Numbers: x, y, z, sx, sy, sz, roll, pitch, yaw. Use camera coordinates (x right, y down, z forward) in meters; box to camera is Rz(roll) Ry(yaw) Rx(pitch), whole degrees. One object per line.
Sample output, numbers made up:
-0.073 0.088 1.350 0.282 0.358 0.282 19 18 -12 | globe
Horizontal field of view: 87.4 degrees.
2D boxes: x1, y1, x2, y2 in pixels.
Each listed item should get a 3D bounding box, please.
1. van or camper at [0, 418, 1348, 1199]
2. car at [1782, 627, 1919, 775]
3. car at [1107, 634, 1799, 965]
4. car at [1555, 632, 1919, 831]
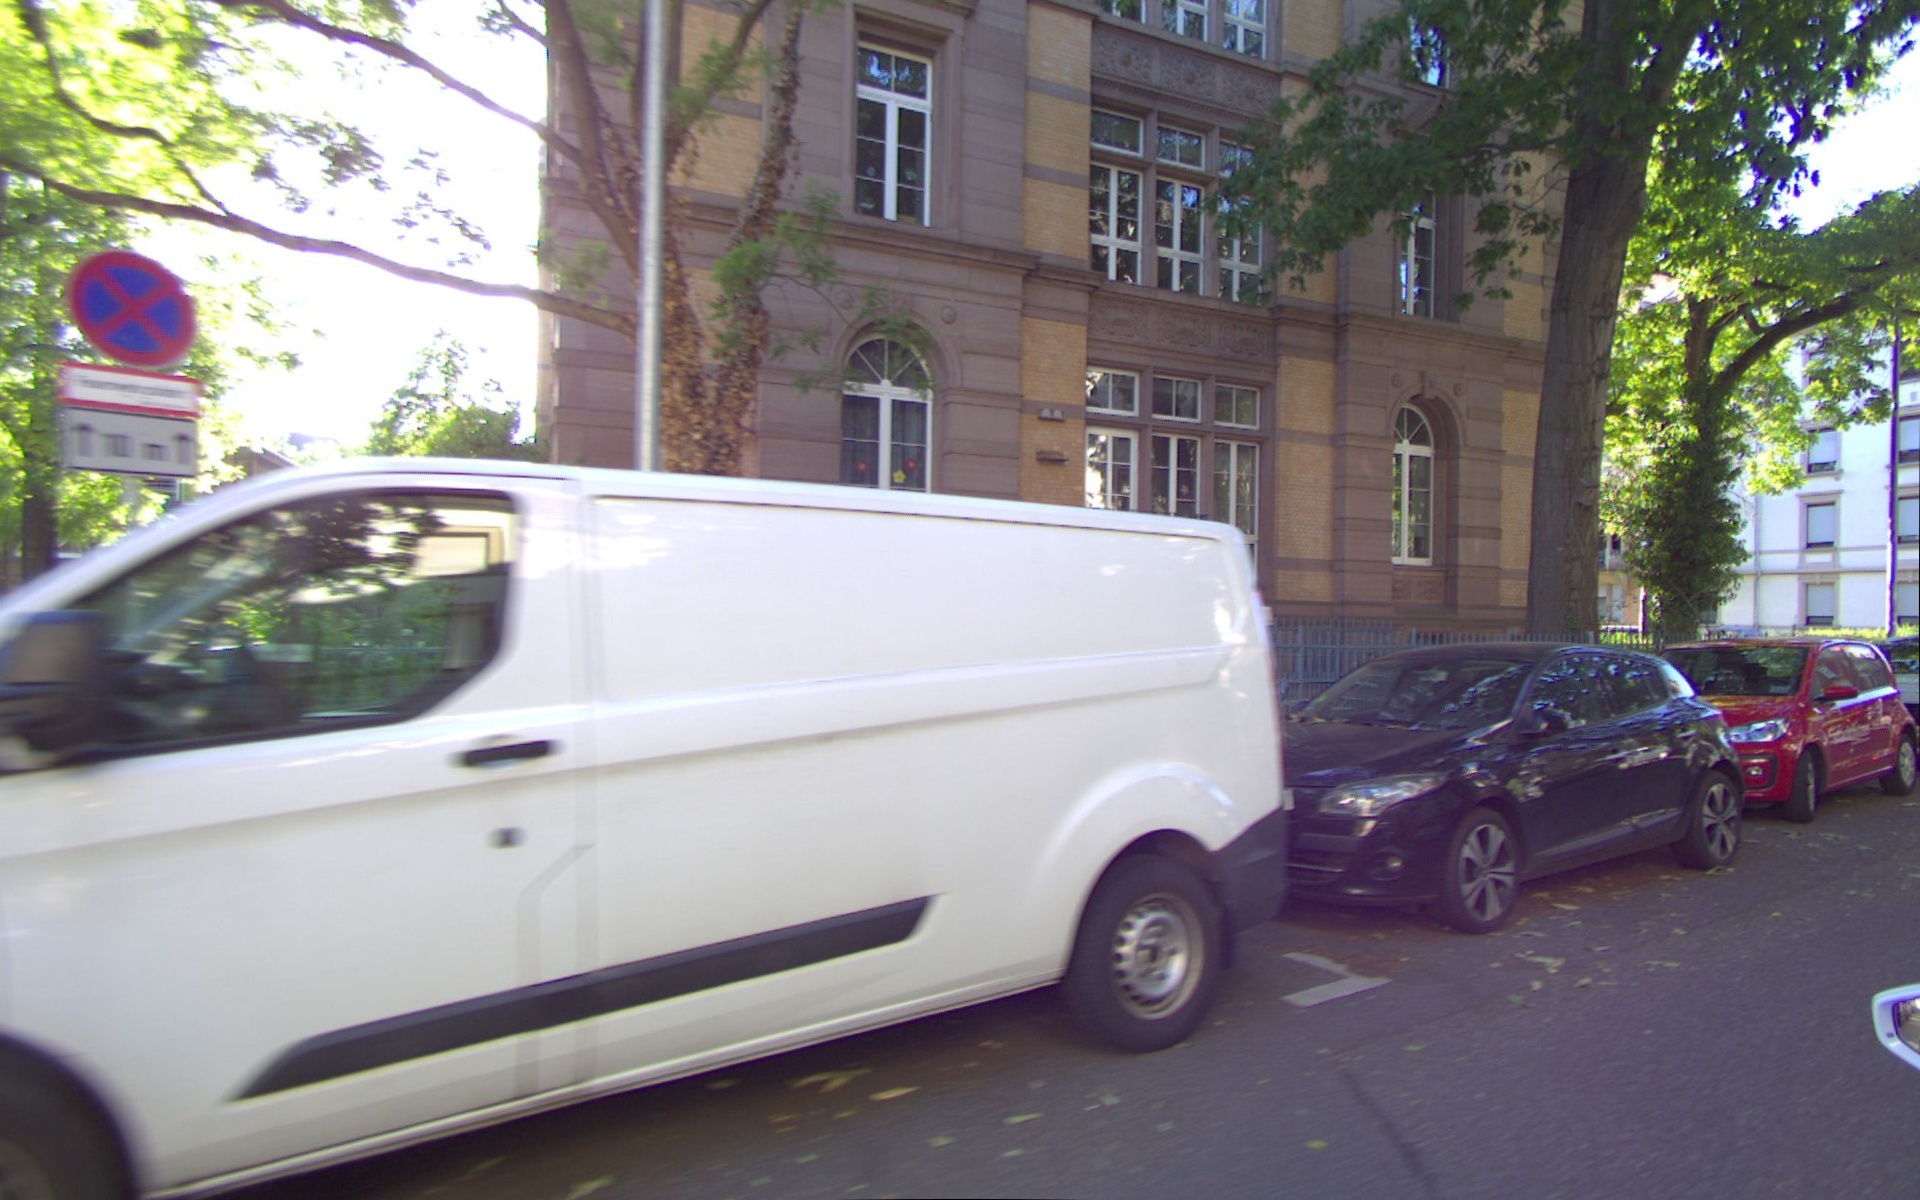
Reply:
-1.162 0.735 3.526 5.404 2.005 1.911 2 -4 -34 | van or camper
11.770 1.141 12.080 4.092 1.574 1.814 2 -5 -35 | car
3.355 0.985 6.592 4.555 1.476 1.990 1 -3 -32 | car
7.384 1.062 9.294 3.984 1.479 1.593 1 -4 -33 | car
